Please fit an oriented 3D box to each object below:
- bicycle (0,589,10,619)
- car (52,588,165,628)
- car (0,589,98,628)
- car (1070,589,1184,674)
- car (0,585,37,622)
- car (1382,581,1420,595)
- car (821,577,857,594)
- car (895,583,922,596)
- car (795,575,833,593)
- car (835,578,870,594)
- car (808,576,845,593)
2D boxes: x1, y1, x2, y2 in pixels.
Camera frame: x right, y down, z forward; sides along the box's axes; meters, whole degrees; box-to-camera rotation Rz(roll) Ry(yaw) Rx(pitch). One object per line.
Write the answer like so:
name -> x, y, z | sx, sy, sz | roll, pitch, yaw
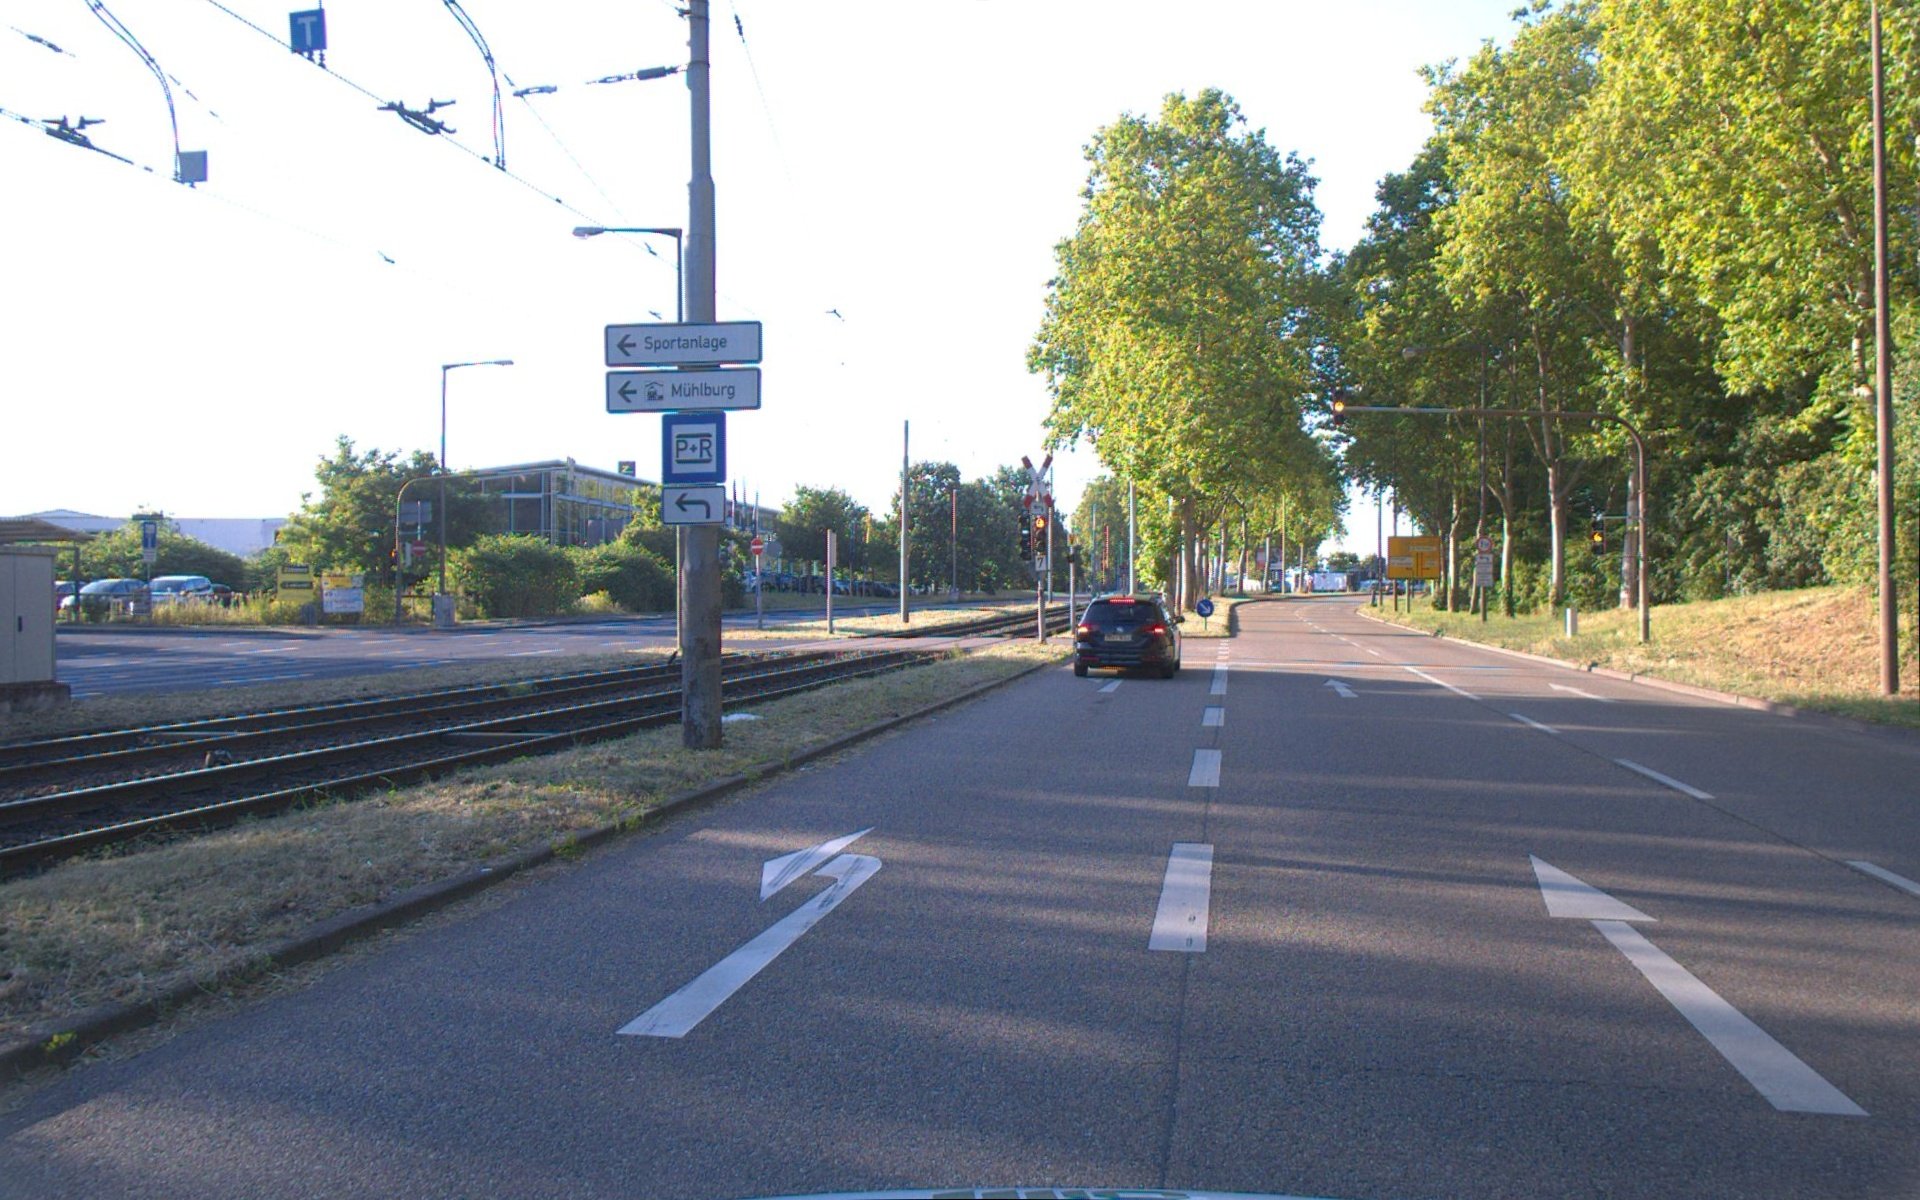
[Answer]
bicycle -> -34.902, 0.144, 58.594 | 0.653, 1.083, 2.190 | 1, 0, 27
car -> -33.244, 0.297, 64.677 | 1.802, 1.467, 4.003 | 1, 0, 12
car -> -36.405, 0.319, 65.554 | 1.802, 1.467, 4.003 | 1, 0, 12
car -> 3.104, 0.526, 30.172 | 1.754, 1.427, 3.692 | 1, 0, 10
car -> -39.296, 0.122, 66.328 | 1.802, 1.467, 4.003 | 1, 0, 12
car -> 47.934, -1.311, 179.758 | 3.624, 1.427, 1.787 | 0, 0, -21
car -> -11.148, -1.345, 152.874 | 3.075, 1.516, 1.456 | 1, 0, 6
car -> -6.068, -1.275, 194.990 | 3.075, 1.516, 1.456 | 1, 0, 6
car -> -12.937, -1.403, 146.609 | 3.075, 1.516, 1.456 | 1, 0, 6
car -> -10.214, -1.303, 156.928 | 3.075, 1.516, 1.456 | 1, 0, 6
car -> -12.031, -1.395, 149.483 | 3.075, 1.516, 1.456 | 1, 0, 6
